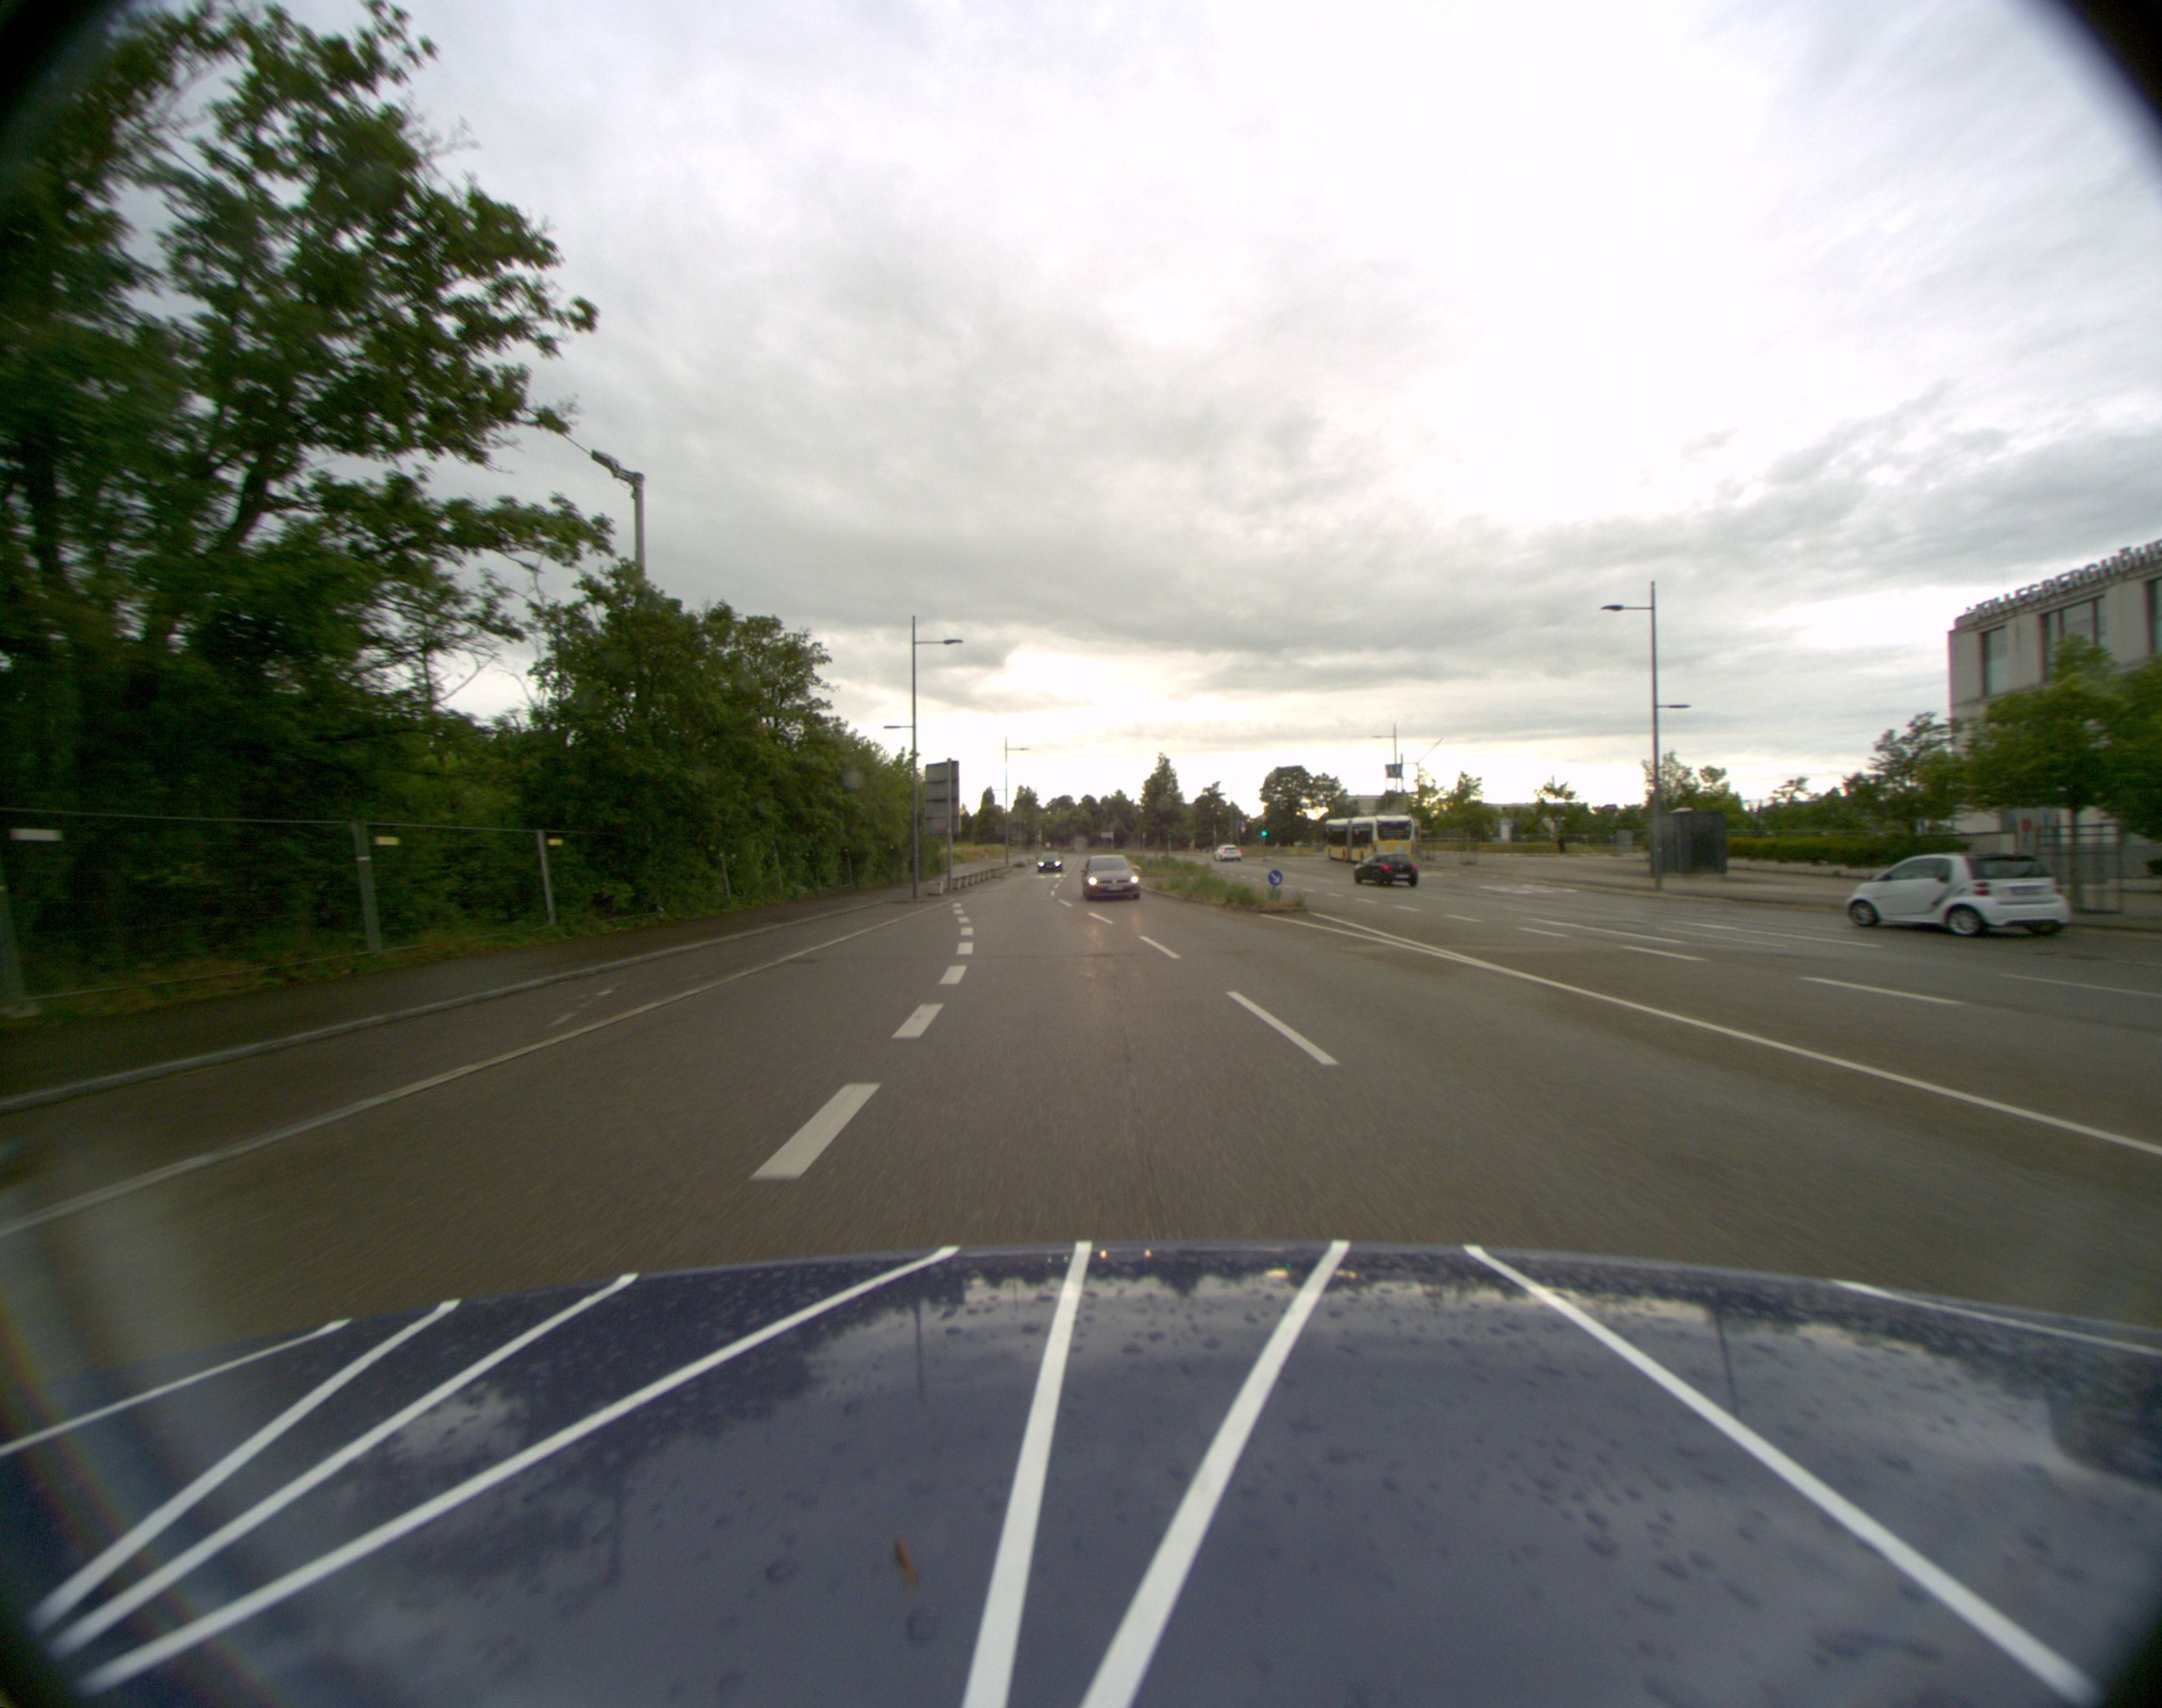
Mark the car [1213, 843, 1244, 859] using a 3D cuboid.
[{"bbox_3d":[13.481,-0.294,69.634,1.998,1.410,4.512,-1,1,1],"label":"car"}]

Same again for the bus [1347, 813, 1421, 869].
[{"bbox_3d":[20.758,-0.966,52.607,2.827,3.453,8.233,-2,2,8],"label":"bus"}]

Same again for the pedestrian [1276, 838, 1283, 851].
[{"bbox_3d":[24.439,-1.141,93.485,0.616,1.584,0.812,-1,-1,-4],"label":"pedestrian"}]

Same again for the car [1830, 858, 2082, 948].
[{"bbox_3d":[17.200,0.887,15.144,1.617,1.499,2.972,-2,1,1],"label":"car"}]

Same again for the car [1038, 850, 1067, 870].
[{"bbox_3d":[-2.145,0.459,56.622,1.990,1.391,4.175,-1,0,-4],"label":"car"}]

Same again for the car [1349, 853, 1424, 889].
[{"bbox_3d":[13.601,0.704,34.060,1.851,1.454,3.866,0,1,1],"label":"car"}]

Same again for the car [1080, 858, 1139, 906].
[{"bbox_3d":[0.894,0.878,25.789,1.810,1.421,4.197,-2,0,0],"label":"car"}]

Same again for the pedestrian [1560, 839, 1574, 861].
[{"bbox_3d":[35.001,-0.301,54.746,0.491,1.520,0.665,-1,-1,-5],"label":"pedestrian"}]

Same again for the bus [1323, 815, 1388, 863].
[{"bbox_3d":[22.047,-1.291,61.616,2.827,3.453,9.977,-2,2,8],"label":"bus"}]
